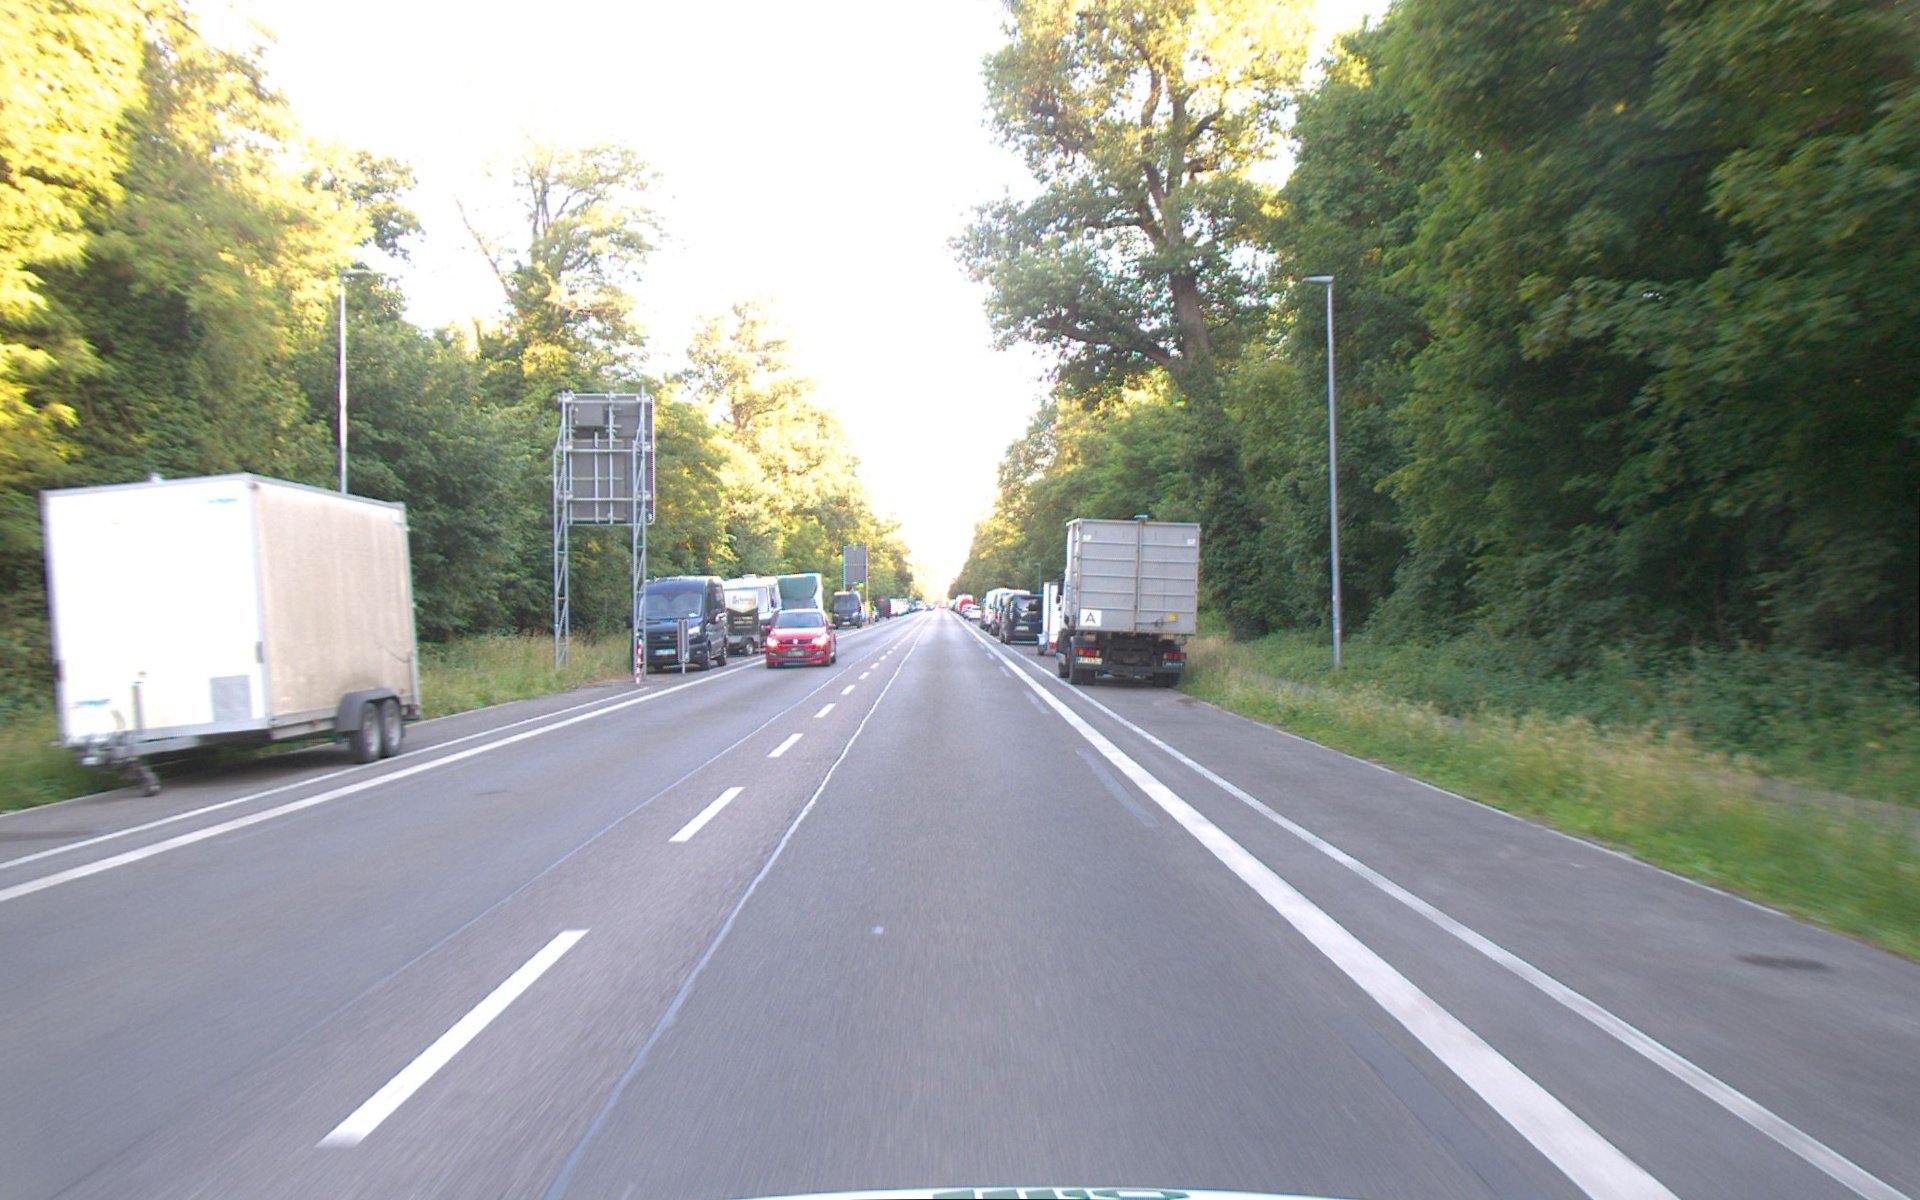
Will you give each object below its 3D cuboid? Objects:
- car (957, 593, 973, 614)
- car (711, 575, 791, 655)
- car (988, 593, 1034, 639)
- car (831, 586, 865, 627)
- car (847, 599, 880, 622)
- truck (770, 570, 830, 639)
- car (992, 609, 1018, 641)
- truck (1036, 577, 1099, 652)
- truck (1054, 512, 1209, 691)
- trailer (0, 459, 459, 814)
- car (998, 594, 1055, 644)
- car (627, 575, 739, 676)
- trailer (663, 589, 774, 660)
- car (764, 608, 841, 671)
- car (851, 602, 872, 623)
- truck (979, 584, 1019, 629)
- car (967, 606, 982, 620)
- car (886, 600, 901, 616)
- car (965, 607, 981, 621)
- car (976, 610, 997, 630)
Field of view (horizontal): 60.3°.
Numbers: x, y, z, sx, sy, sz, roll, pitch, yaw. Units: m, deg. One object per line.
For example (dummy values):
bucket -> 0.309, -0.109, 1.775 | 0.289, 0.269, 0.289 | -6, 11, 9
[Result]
car -> 0.672, 0.551, 247.384 | 2.267, 3.147, 5.638 | 1, 0, -1
car -> -7.569, 0.521, 60.435 | 2.204, 2.694, 5.720 | -2, 0, -1
car -> 2.670, 0.850, 87.352 | 2.099, 2.354, 4.297 | 0, 0, -3
car -> -8.145, 0.459, 120.646 | 2.142, 2.837, 5.333 | -2, 0, -1
car -> -8.712, 0.944, 150.051 | 1.664, 2.049, 4.002 | 1, 0, 18
truck -> -8.240, 0.222, 86.000 | 2.453, 3.387, 6.840 | -2, 0, -1
car -> 2.220, 1.234, 81.943 | 1.124, 1.573, 2.752 | 0, 0, -3
truck -> 3.458, 0.469, 53.746 | 1.846, 2.323, 4.300 | 0, 0, 1
truck -> 3.393, 0.053, 34.339 | 2.535, 3.312, 7.220 | 0, 0, 1
trailer -> -7.248, 0.319, 17.284 | 2.279, 2.975, 5.625 | -3, 0, -1
car -> 2.703, 0.768, 68.231 | 1.954, 1.989, 4.297 | 0, 0, -3
car -> -7.274, 0.639, 44.013 | 1.953, 2.405, 5.764 | -3, 0, -1
trailer -> -7.966, 0.789, 54.899 | 1.922, 2.192, 3.930 | -2, 0, 20
car -> -4.097, 0.999, 43.559 | 1.648, 1.512, 4.037 | -2, 0, -1
car -> -8.436, 1.076, 141.920 | 1.736, 1.701, 3.998 | 1, 0, -3
truck -> 2.347, 0.400, 100.580 | 2.099, 2.706, 4.297 | 0, 0, -3
car -> 1.427, 1.285, 165.448 | 1.398, 1.243, 3.411 | -3, 0, -1
car -> -9.242, 1.120, 228.186 | 1.954, 2.049, 3.997 | -1, -2, -3
car -> 1.422, 1.519, 182.849 | 1.612, 1.512, 3.999 | 1, 0, -1
car -> 1.702, 1.257, 106.565 | 1.124, 1.274, 2.752 | -1, 0, -3
